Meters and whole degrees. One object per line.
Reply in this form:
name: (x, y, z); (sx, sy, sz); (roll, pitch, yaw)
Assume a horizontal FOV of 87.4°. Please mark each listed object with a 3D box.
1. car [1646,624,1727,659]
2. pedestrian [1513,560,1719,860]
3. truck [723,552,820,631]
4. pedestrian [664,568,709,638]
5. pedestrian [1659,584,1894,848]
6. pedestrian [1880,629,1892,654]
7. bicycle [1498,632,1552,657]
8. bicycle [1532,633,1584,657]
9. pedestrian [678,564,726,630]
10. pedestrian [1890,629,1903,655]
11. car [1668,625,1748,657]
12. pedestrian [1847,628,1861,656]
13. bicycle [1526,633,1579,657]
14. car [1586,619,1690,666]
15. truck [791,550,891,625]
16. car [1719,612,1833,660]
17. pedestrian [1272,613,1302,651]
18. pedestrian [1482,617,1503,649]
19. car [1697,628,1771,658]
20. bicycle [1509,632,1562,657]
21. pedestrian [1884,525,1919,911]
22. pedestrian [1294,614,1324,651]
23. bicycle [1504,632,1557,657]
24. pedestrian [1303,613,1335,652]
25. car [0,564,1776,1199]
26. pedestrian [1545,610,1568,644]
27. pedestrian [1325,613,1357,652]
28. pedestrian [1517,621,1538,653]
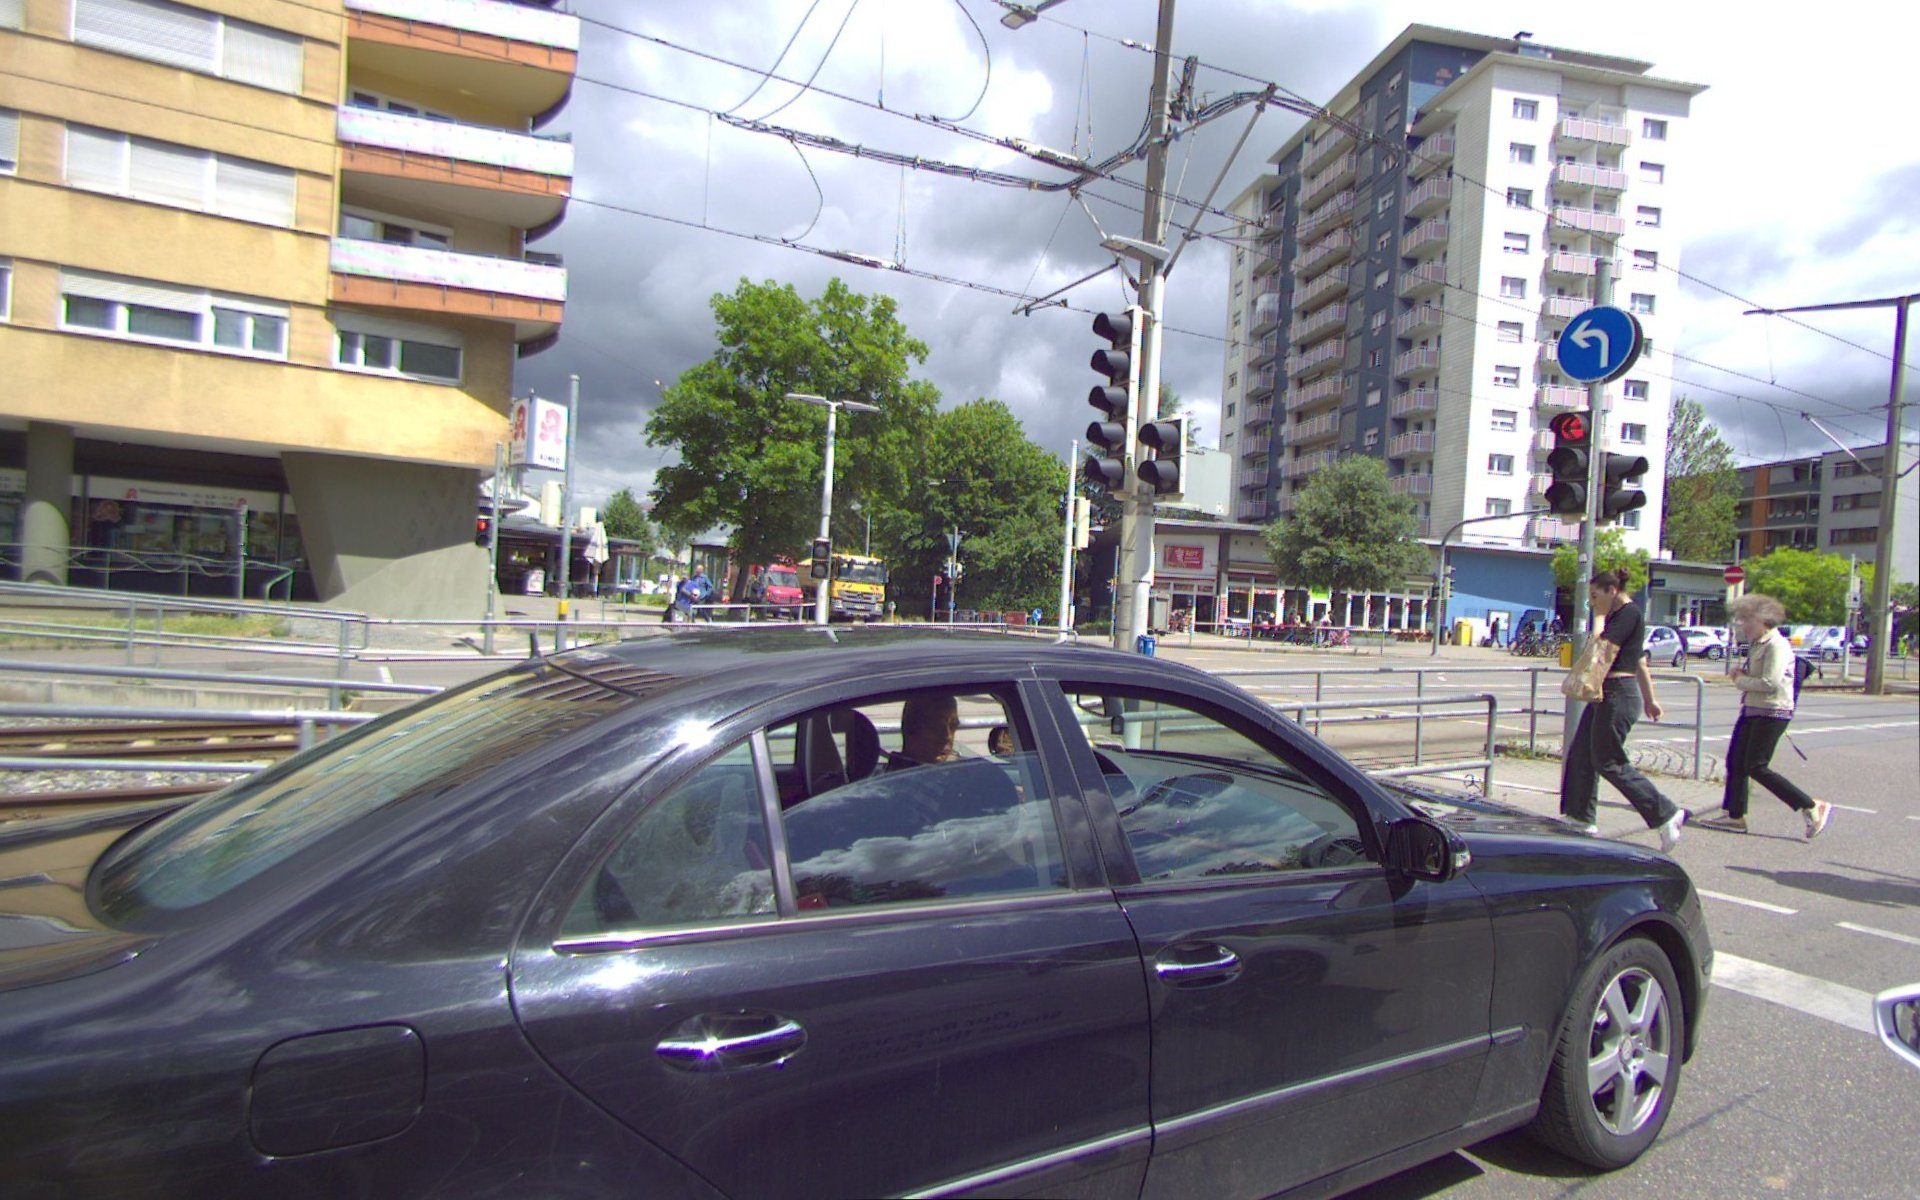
car: (37.957, 2.142, 52.598); (1.921, 1.591, 4.220); (2, 0, 13)
pedestrian: (4.302, 0.656, 6.600); (0.766, 1.789, 0.925); (1, 1, -41)
truck: (-9.087, -0.407, 47.473); (2.692, 3.320, 8.876); (2, 0, -23)
pedestrian: (-6.707, 0.063, 24.653); (0.750, 1.638, 0.780); (3, 4, 18)
pedestrian: (5.677, 0.764, 7.035); (0.856, 1.696, 0.953); (1, -1, -15)
pedestrian: (64.824, 2.882, 70.316); (0.401, 1.739, 0.542); (1, 0, -39)
bicycle: (23.906, 1.876, 42.531); (0.490, 0.947, 1.933); (2, 0, -35)
bicycle: (26.017, 1.956, 43.725); (0.490, 0.947, 1.933); (2, 0, -35)
pedestrian: (-6.815, -0.076, 26.580); (0.751, 1.636, 0.780); (8, 1, 22)
pedestrian: (64.814, 2.915, 69.547); (0.663, 1.739, 0.542); (1, 0, -40)
car: (40.553, 2.201, 54.608); (1.921, 1.558, 4.220); (2, 0, 13)
pedestrian: (56.812, 2.690, 63.834); (0.400, 1.739, 0.544); (1, 0, -30)
bicycle: (25.594, 1.940, 43.447); (0.490, 0.947, 1.933); (2, 0, -35)
car: (26.911, 1.687, 39.871); (3.827, 1.715, 1.928); (2, 0, -30)
truck: (-5.833, -0.562, 47.980); (2.733, 3.244, 7.442); (2, 0, -23)
car: (47.519, 2.008, 58.749); (2.776, 2.511, 6.724); (2, 0, 17)
pedestrian: (14.932, 1.443, 45.865); (0.977, 1.681, 0.969); (2, -1, -4)
pedestrian: (28.087, 1.728, 52.937); (0.693, 1.637, 0.760); (1, 0, -42)
car: (43.284, 2.377, 56.290); (1.754, 1.439, 4.219); (2, 0, 15)
bicycle: (24.676, 1.904, 43.115); (0.490, 0.947, 1.933); (2, 0, -35)
pedestrian: (5.474, 0.616, 5.083); (0.888, 1.968, 0.960); (1, 1, -34)
pedestrian: (16.003, 1.478, 46.117); (0.977, 1.681, 0.969); (2, -1, -4)
bicycle: (24.279, 1.890, 42.806); (0.490, 0.947, 1.933); (2, 0, -35)
pedestrian: (15.905, 1.418, 44.572); (1.077, 1.681, 0.948); (2, -1, 4)
car: (0.103, 0.738, 2.665); (4.491, 1.481, 1.720); (2, 0, -30)
pedestrian: (35.425, 1.603, 59.639); (1.207, 1.942, 0.856); (1, 1, -44)
pedestrian: (17.062, 1.441, 45.049); (1.077, 1.681, 0.948); (2, -1, 4)
pedestrian: (30.480, 1.984, 53.950); (0.693, 1.637, 0.760); (1, 0, -43)
